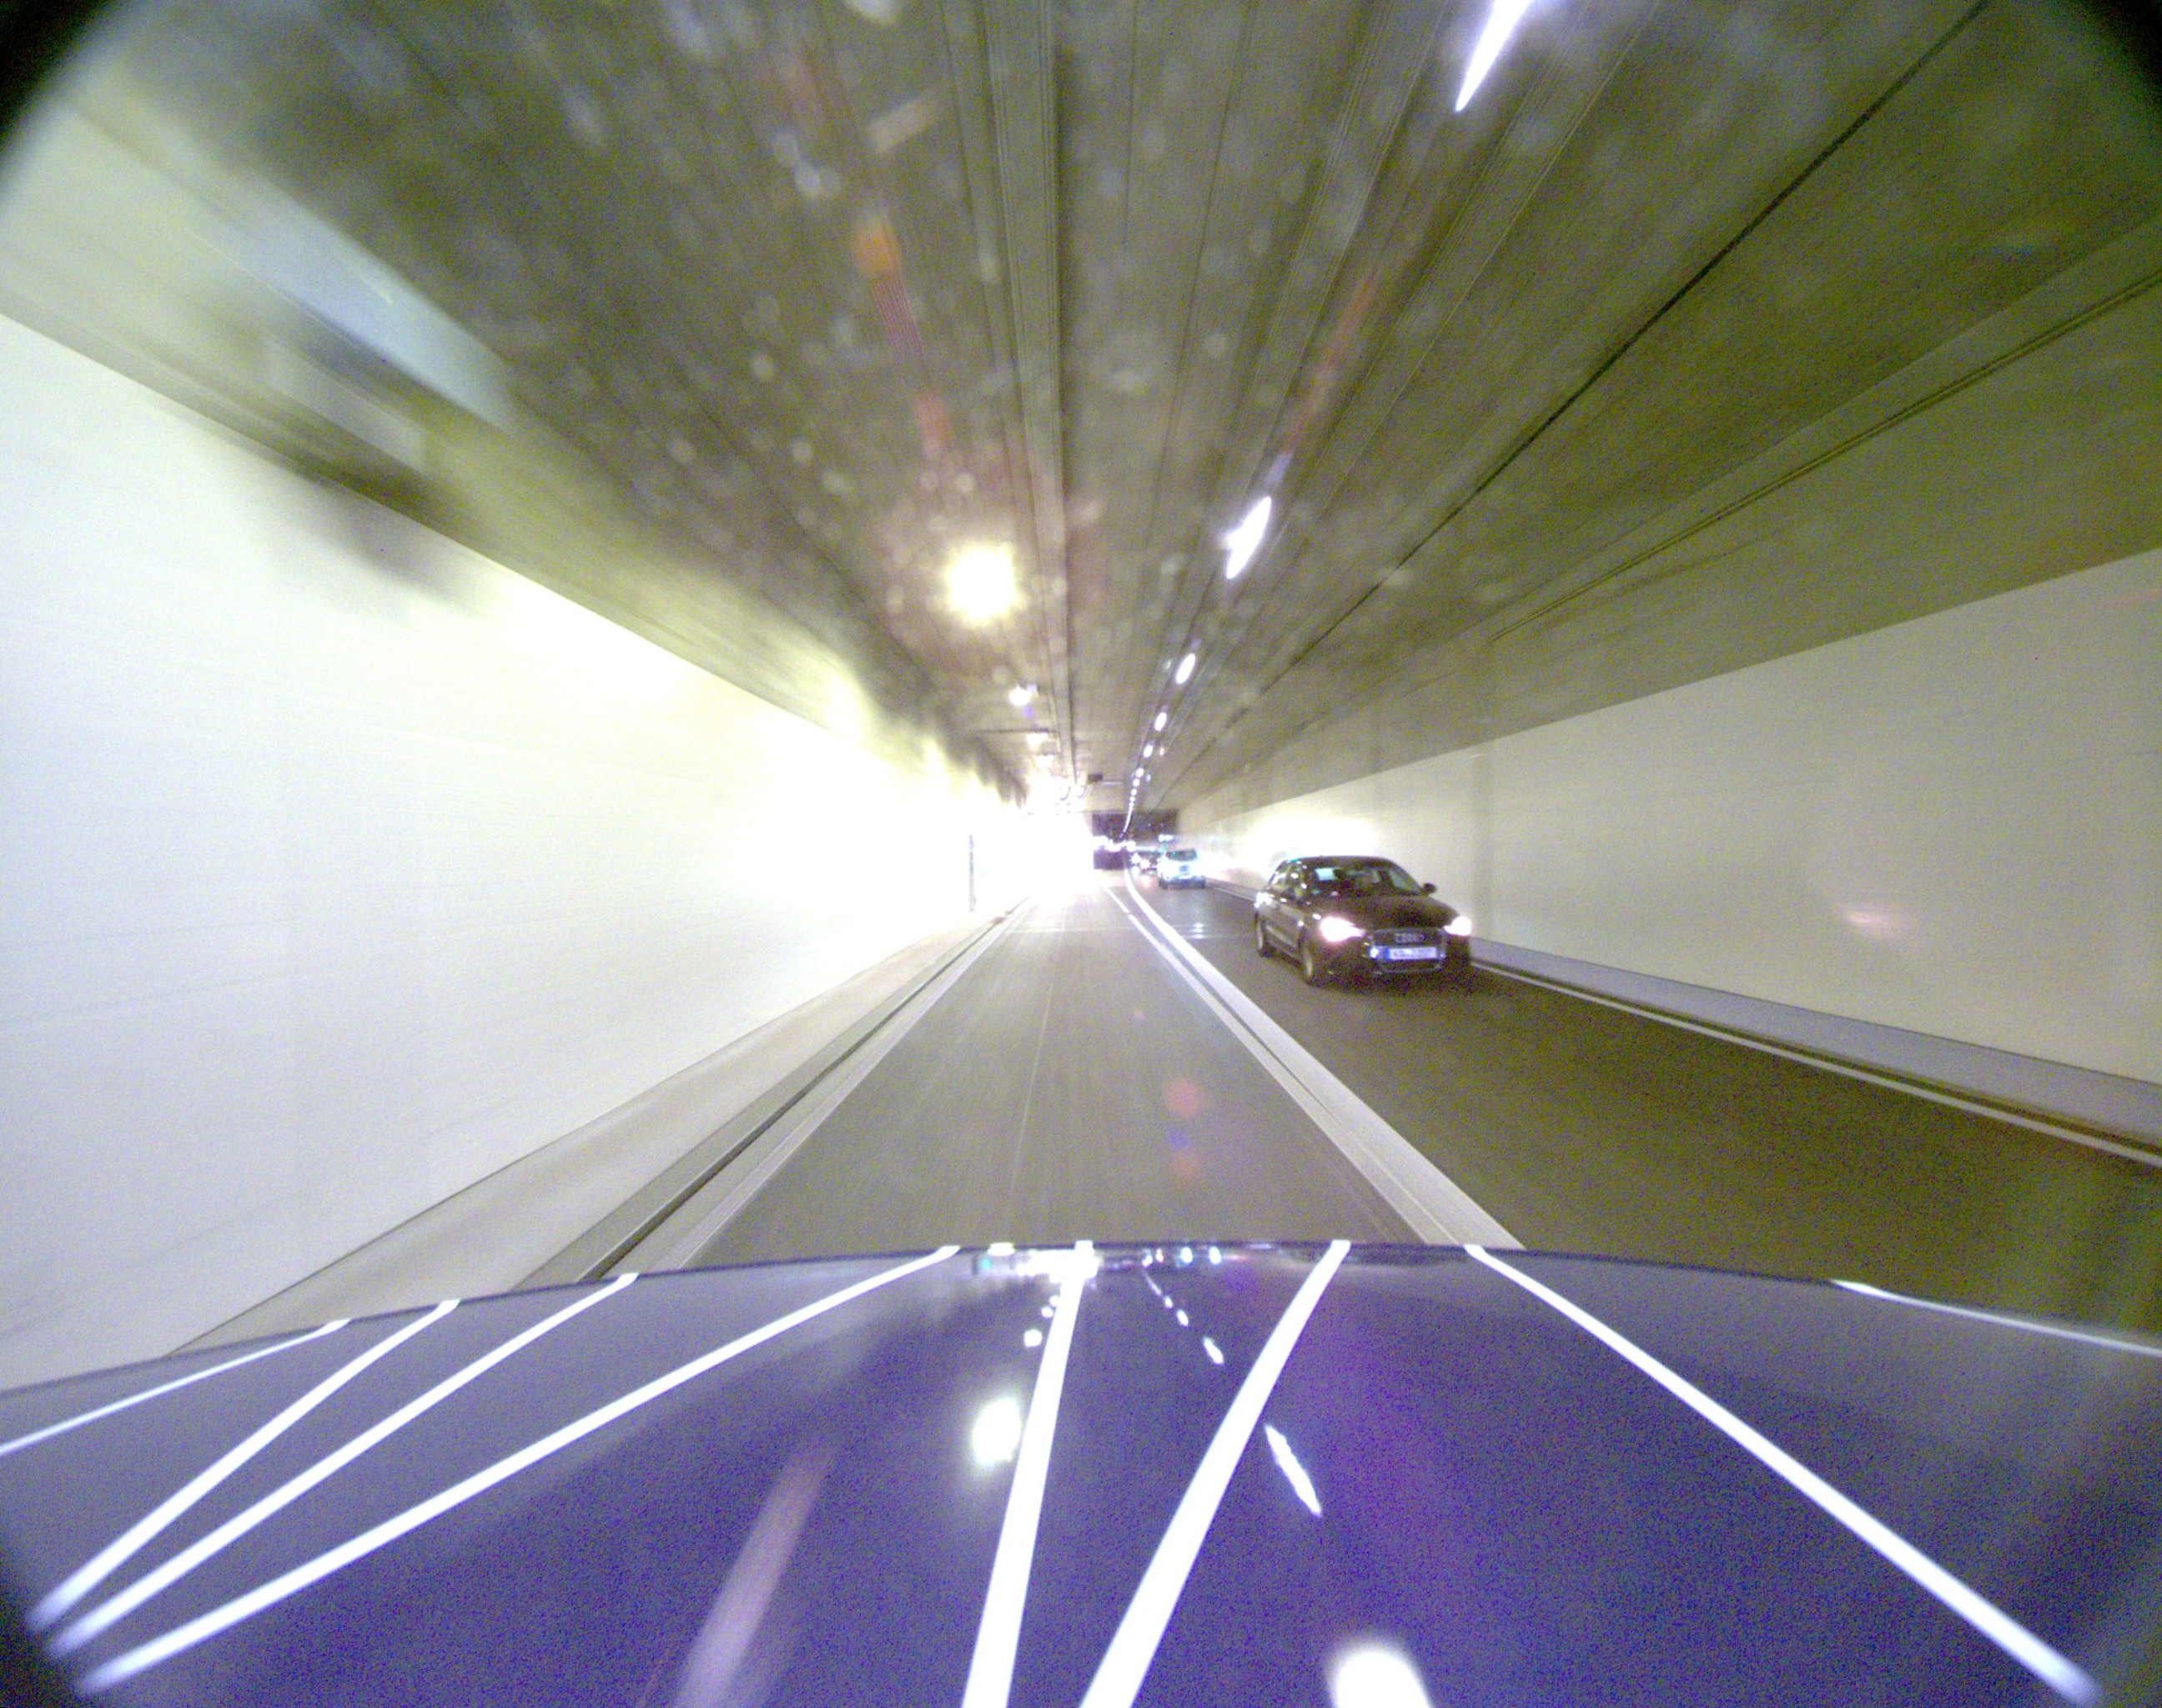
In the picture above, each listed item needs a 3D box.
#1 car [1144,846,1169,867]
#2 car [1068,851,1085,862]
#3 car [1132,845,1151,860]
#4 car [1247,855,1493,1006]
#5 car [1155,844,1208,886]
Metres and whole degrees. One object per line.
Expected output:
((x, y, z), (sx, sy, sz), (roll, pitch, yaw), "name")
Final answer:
((5.561, 0.166, 56.406), (1.607, 1.462, 3.681), (-3, 1, 4), "car")
((-0.508, 0.297, 94.885), (1.829, 1.328, 4.000), (-1, 1, 3), "car")
((6.341, -0.185, 80.235), (1.718, 1.444, 3.680), (-3, 1, 2), "car")
((3.285, 0.763, 9.464), (1.660, 1.393, 3.876), (-2, 1, 2), "car")
((4.292, 0.417, 32.963), (1.853, 1.655, 3.831), (-2, 1, 2), "car")
